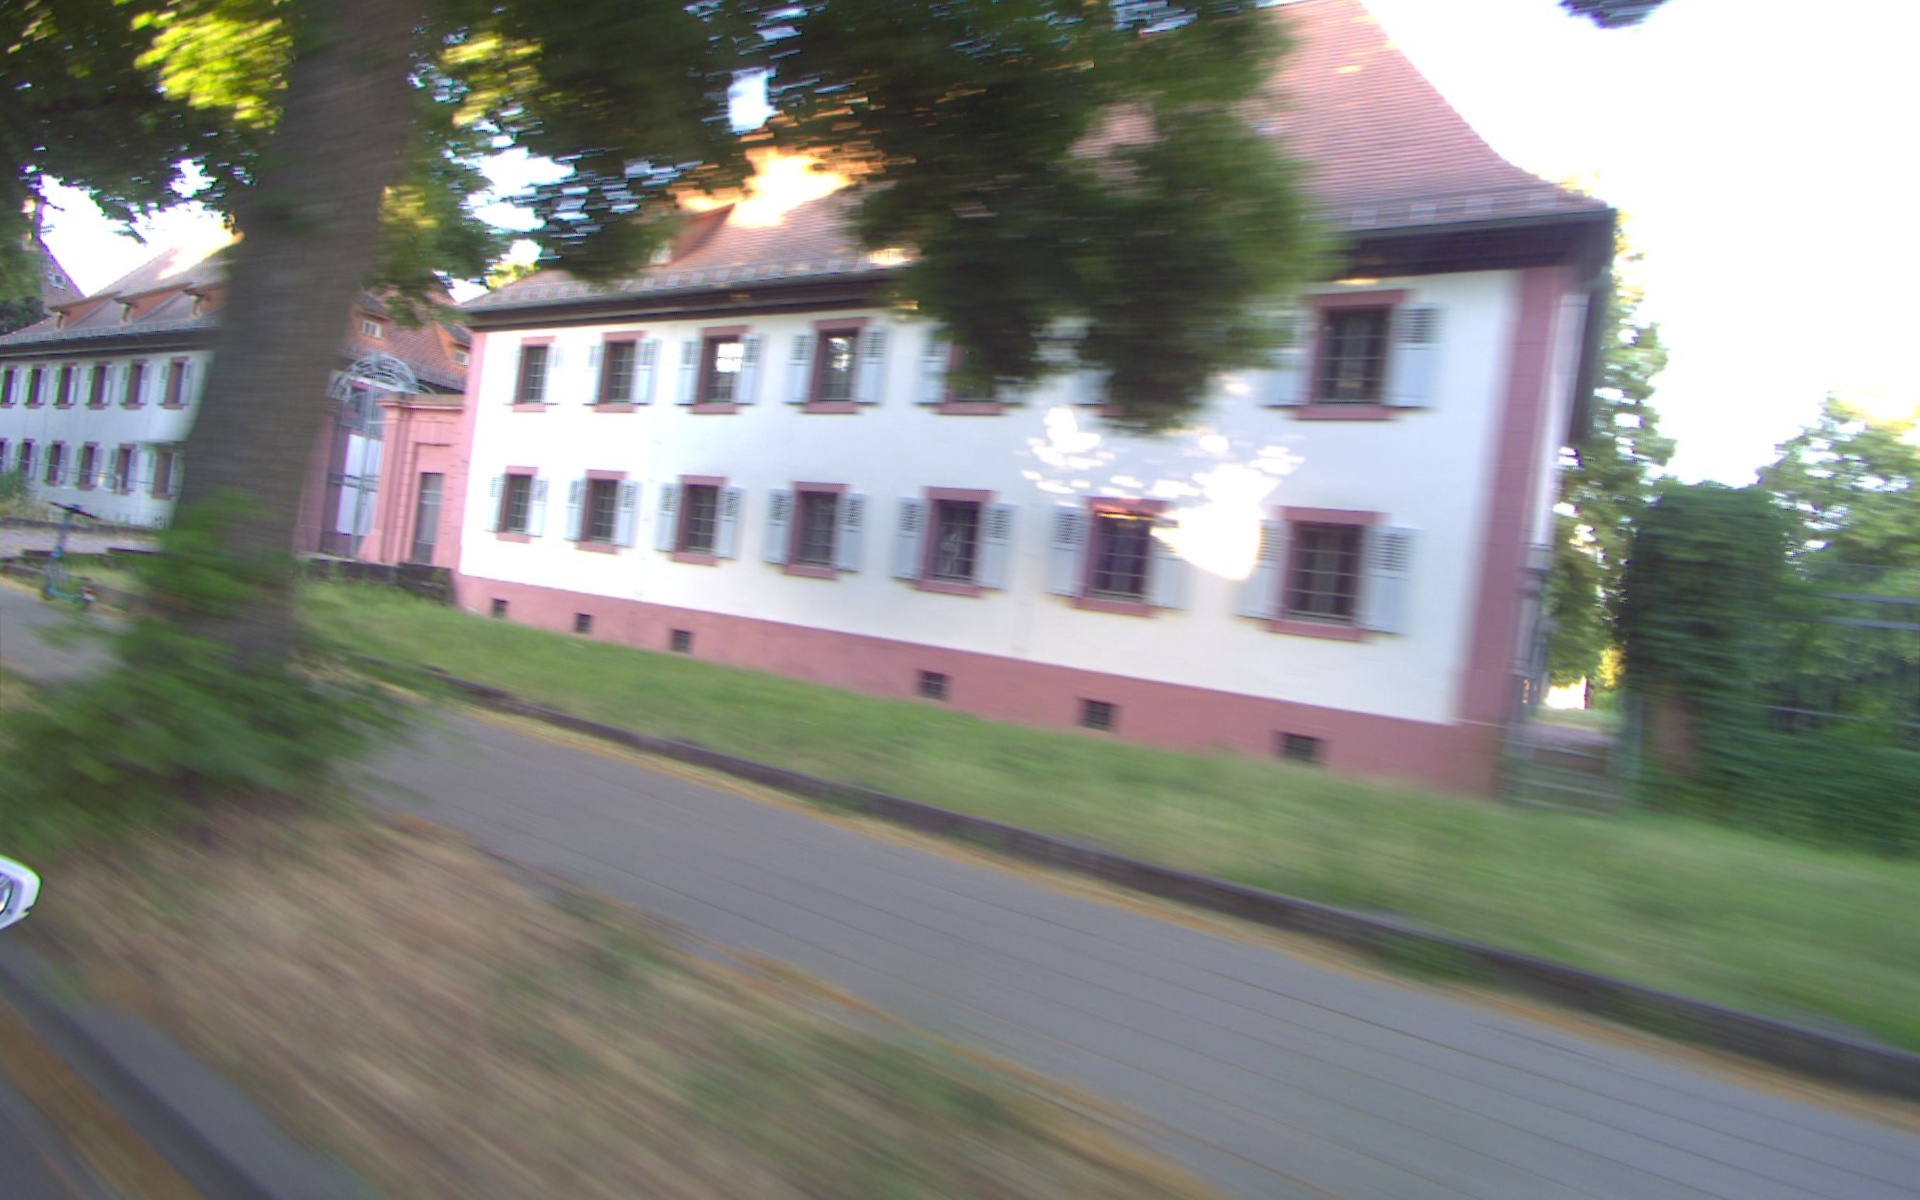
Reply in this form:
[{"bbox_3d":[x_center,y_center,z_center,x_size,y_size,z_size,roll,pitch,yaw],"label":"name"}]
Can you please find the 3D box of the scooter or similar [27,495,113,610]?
[{"bbox_3d":[-10.843,-0.586,12.249,1.245,1.291,0.239,6,0,27],"label":"scooter or similar"}]
